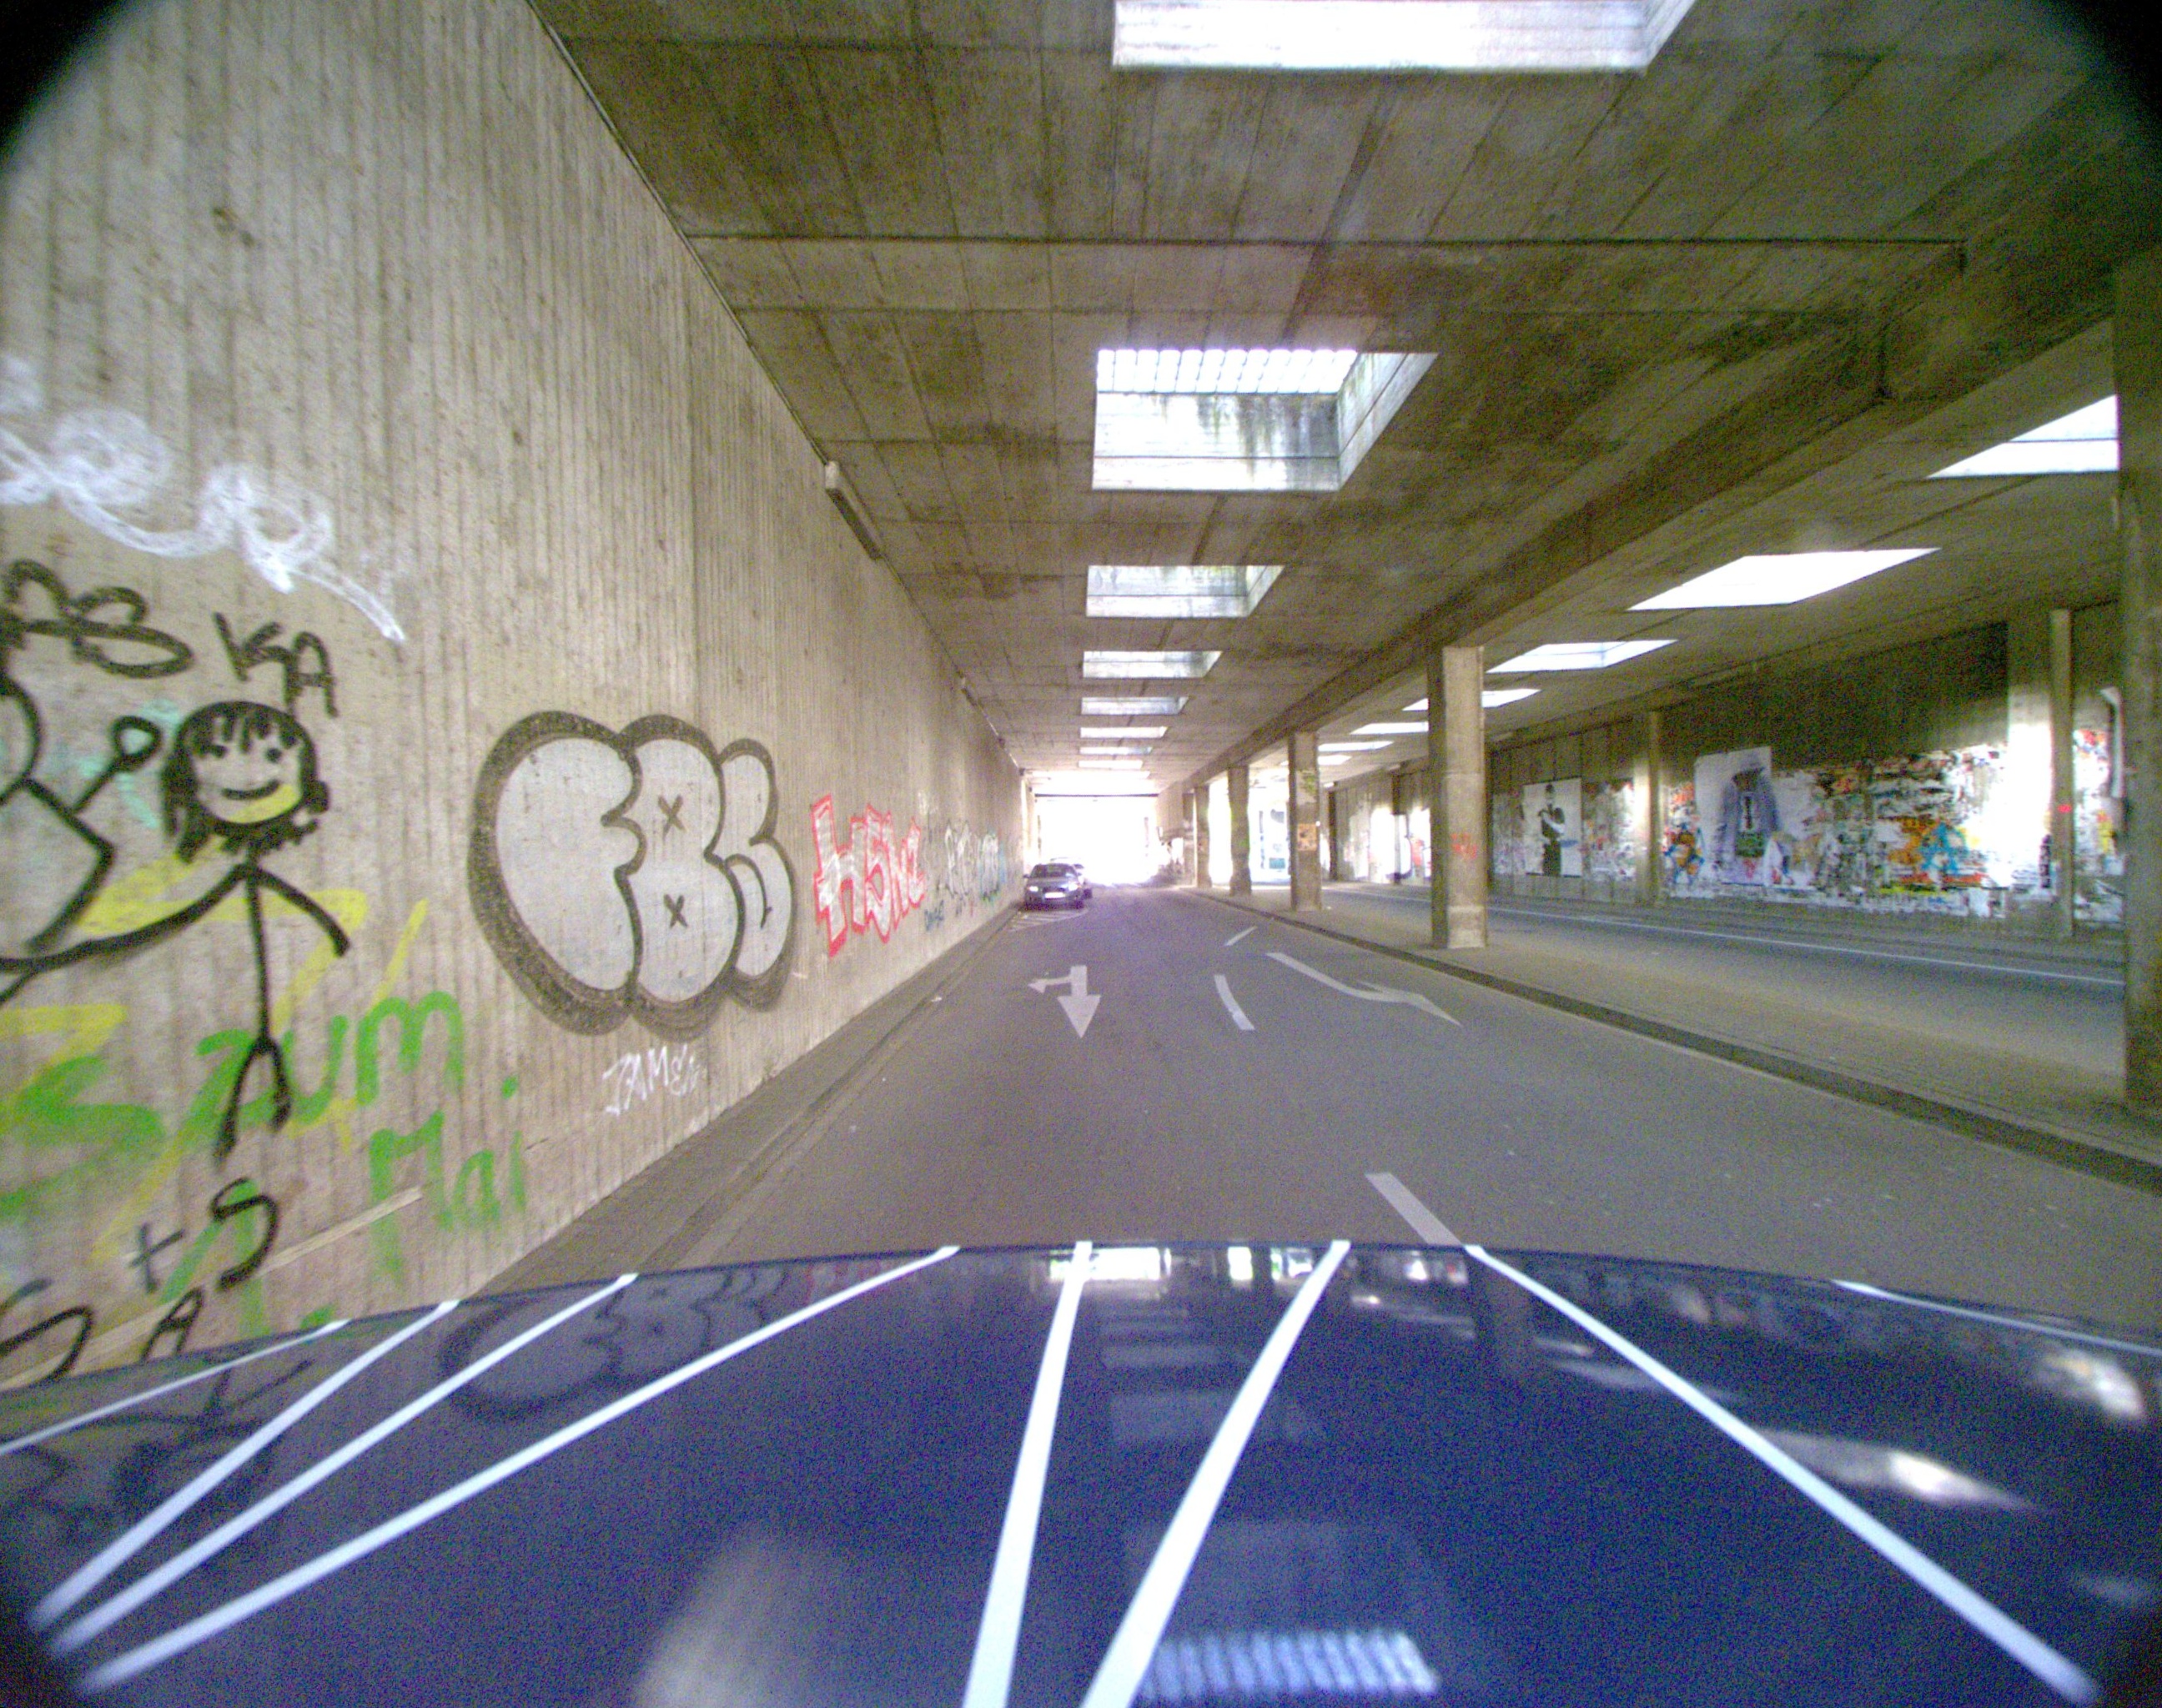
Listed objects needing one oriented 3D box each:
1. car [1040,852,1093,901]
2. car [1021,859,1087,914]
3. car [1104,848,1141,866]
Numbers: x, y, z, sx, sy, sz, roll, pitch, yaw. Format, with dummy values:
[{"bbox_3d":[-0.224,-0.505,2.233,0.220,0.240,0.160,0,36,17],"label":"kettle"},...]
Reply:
[{"bbox_3d":[-0.483,0.797,29.486,1.861,1.709,4.000,-2,0,1],"label":"car"},{"bbox_3d":[-0.751,0.942,23.649,1.808,1.460,4.000,-2,0,1],"label":"car"},{"bbox_3d":[4.581,0.332,84.342,3.998,1.841,1.811,-1,0,-3],"label":"car"}]
